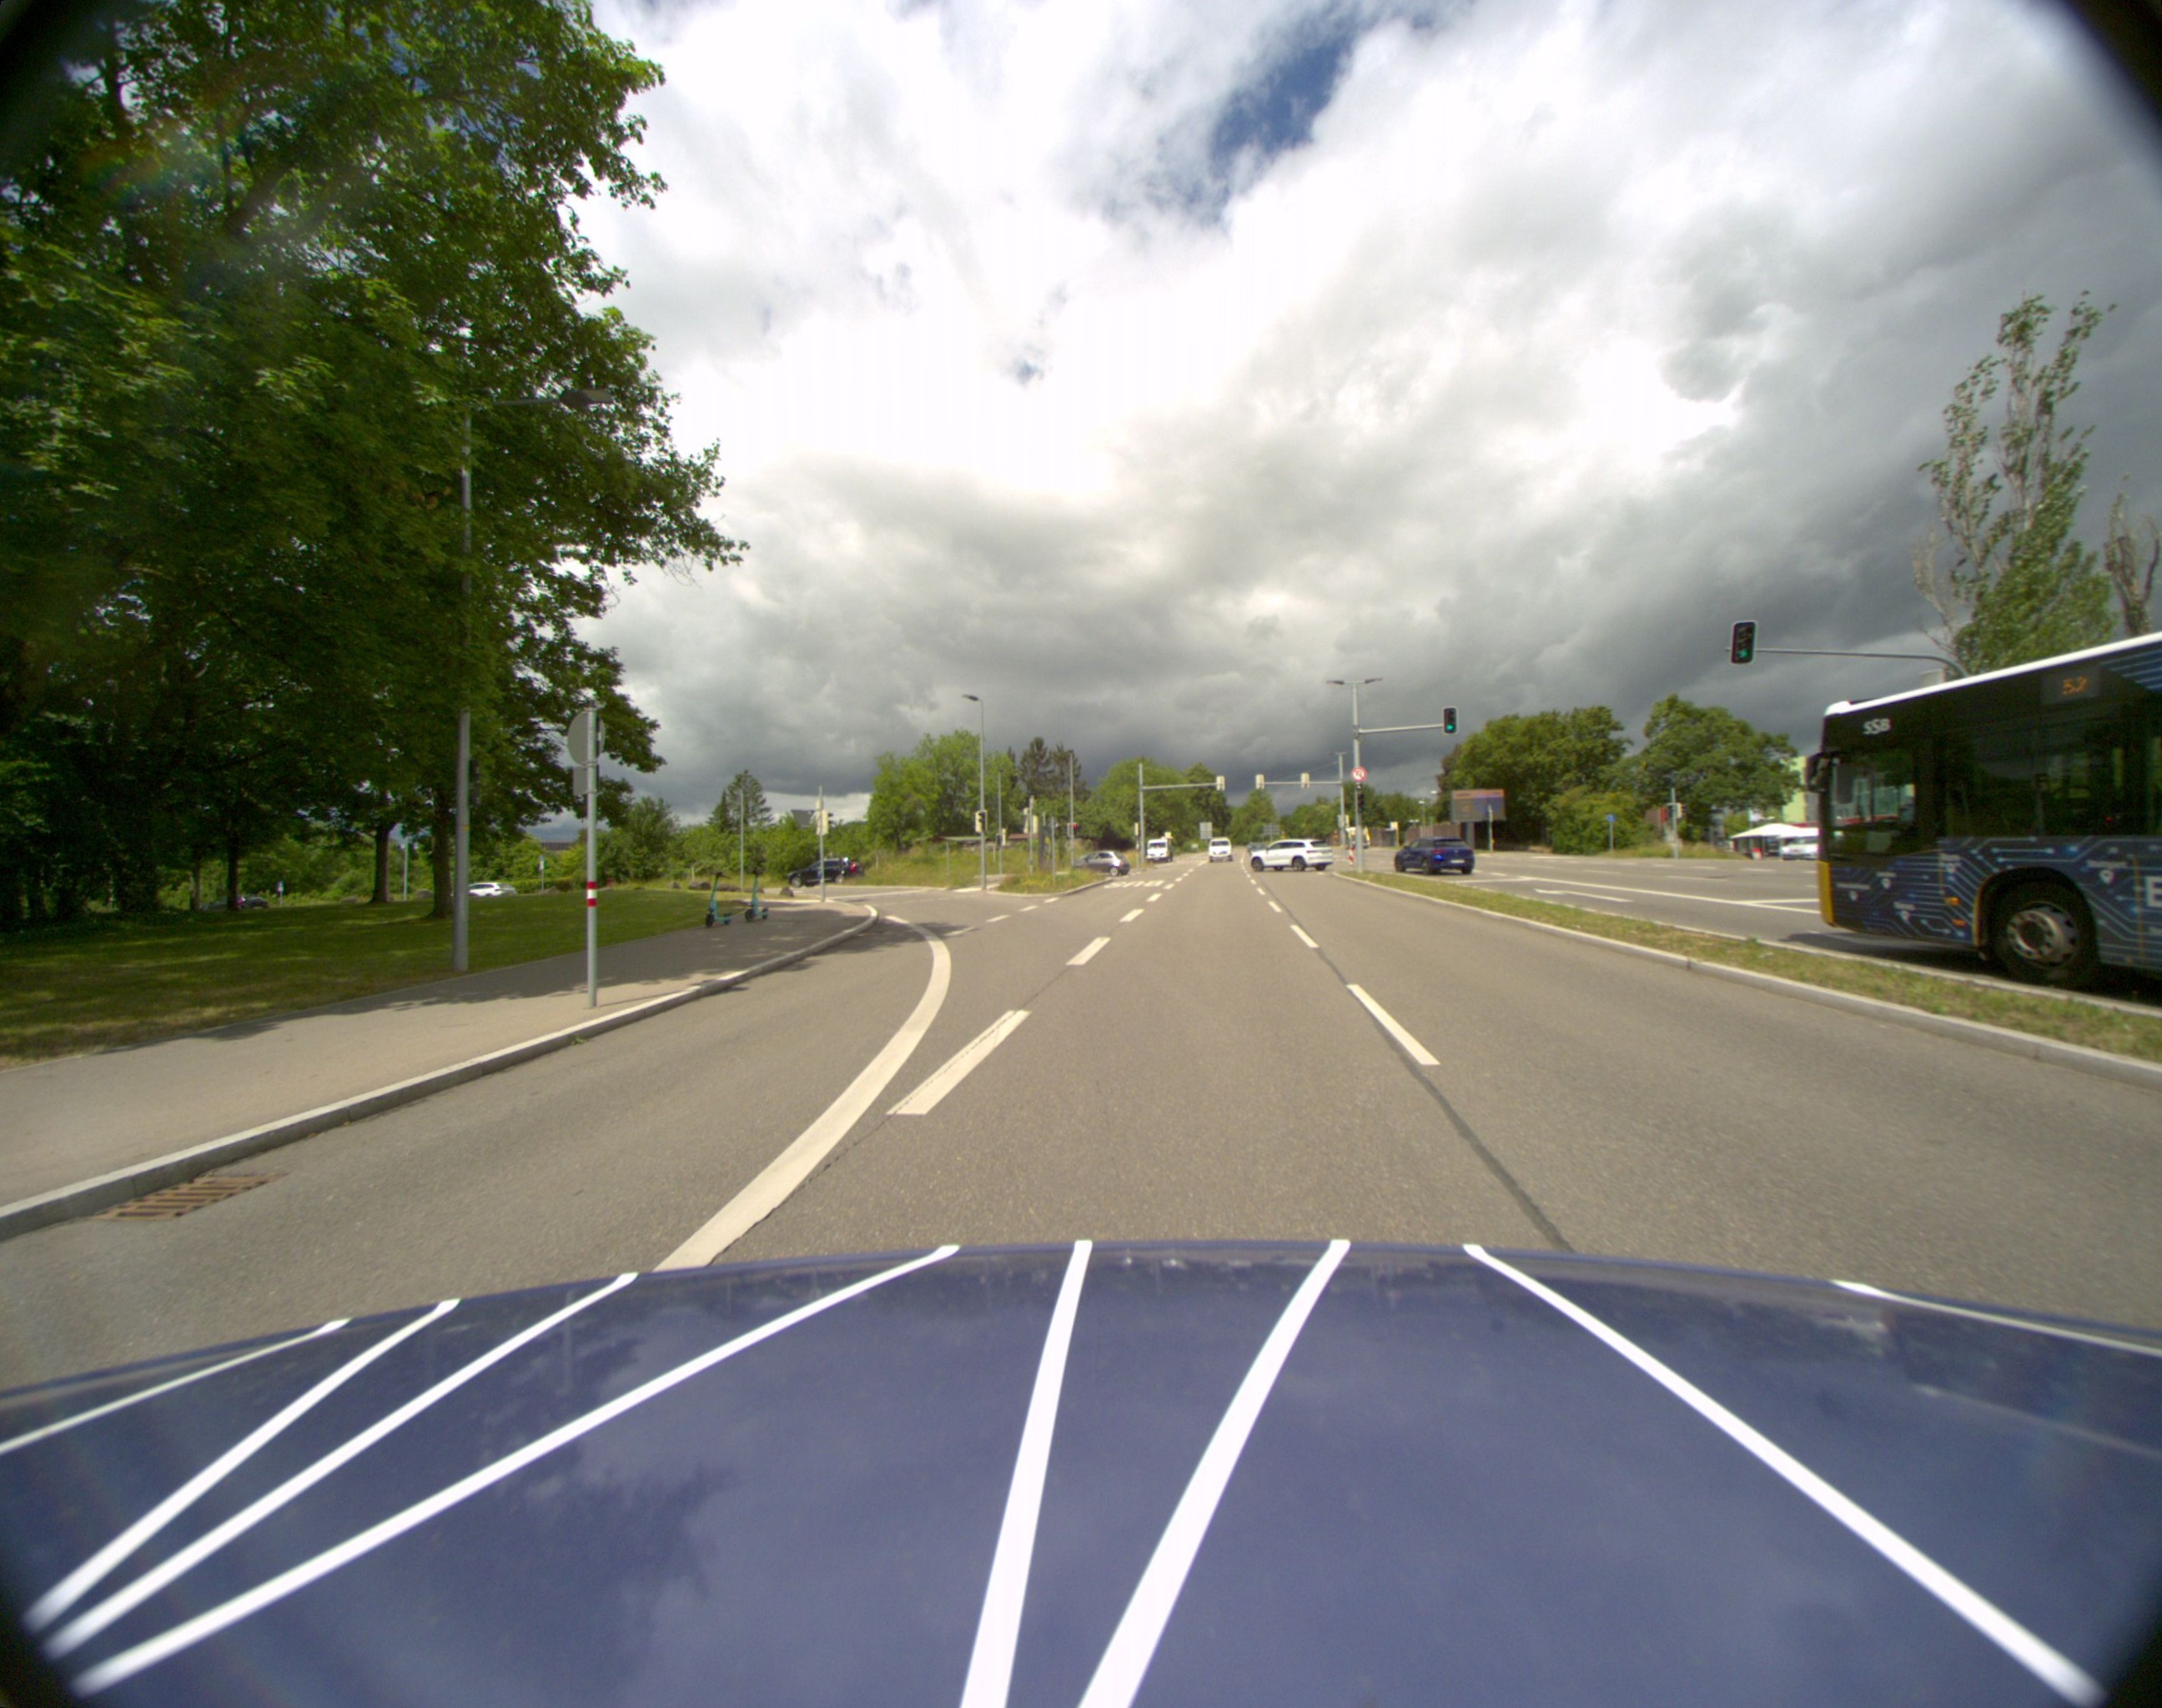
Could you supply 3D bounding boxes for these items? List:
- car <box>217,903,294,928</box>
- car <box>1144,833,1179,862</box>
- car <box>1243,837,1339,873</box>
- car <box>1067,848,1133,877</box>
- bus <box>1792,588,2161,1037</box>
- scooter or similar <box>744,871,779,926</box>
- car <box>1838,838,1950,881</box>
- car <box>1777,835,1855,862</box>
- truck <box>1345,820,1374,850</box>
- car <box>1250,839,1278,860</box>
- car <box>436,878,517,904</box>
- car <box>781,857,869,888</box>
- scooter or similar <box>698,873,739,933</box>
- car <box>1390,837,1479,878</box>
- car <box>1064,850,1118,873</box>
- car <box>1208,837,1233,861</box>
[{"bbox_3d":[-60.503,4.491,55.686,4.158,1.568,1.792,-3,-1,9],"label":"car"},{"bbox_3d":[8.027,-0.645,75.400,2.161,2.635,5.833,-2,0,18],"label":"car"},{"bbox_3d":[10.867,0.086,39.603,1.736,1.649,4.890,-2,0,-32],"label":"car"},{"bbox_3d":[1.125,0.531,45.186,3.516,1.451,1.589,-3,-3,24],"label":"car"},{"bbox_3d":[8.959,-0.325,4.038,2.820,3.266,10.128,-3,1,13],"label":"bus"},{"bbox_3d":[-7.715,1.064,18.397,0.534,1.257,1.189,0,0,-11],"label":"scooter or similar"},{"bbox_3d":[40.560,0.304,37.956,4.002,2.000,1.999,0,-4,-14],"label":"car"},{"bbox_3d":[40.694,-0.313,42.074,4.004,1.392,1.693,-2,0,-24],"label":"car"},{"bbox_3d":[39.797,-2.598,108.833,2.842,3.555,6.978,-2,-4,11],"label":"truck"},{"bbox_3d":[15.853,-0.428,66.032,1.908,1.626,4.974,-3,1,9],"label":"car"},{"bbox_3d":[-41.981,2.558,52.854,4.374,1.461,1.622,-3,1,4],"label":"car"},{"bbox_3d":[-16.608,1.189,49.370,4.976,1.680,1.911,-3,1,6],"label":"car"},{"bbox_3d":[-8.086,1.071,16.975,0.534,1.257,1.189,0,0,-11],"label":"scooter or similar"},{"bbox_3d":[14.575,0.129,31.587,1.809,1.502,4.399,-2,0,3],"label":"car"},{"bbox_3d":[0.817,0.582,60.339,1.905,1.627,4.456,-2,1,38],"label":"car"},{"bbox_3d":[11.999,-0.477,65.563,1.908,1.926,4.974,-2,1,9],"label":"car"}]
